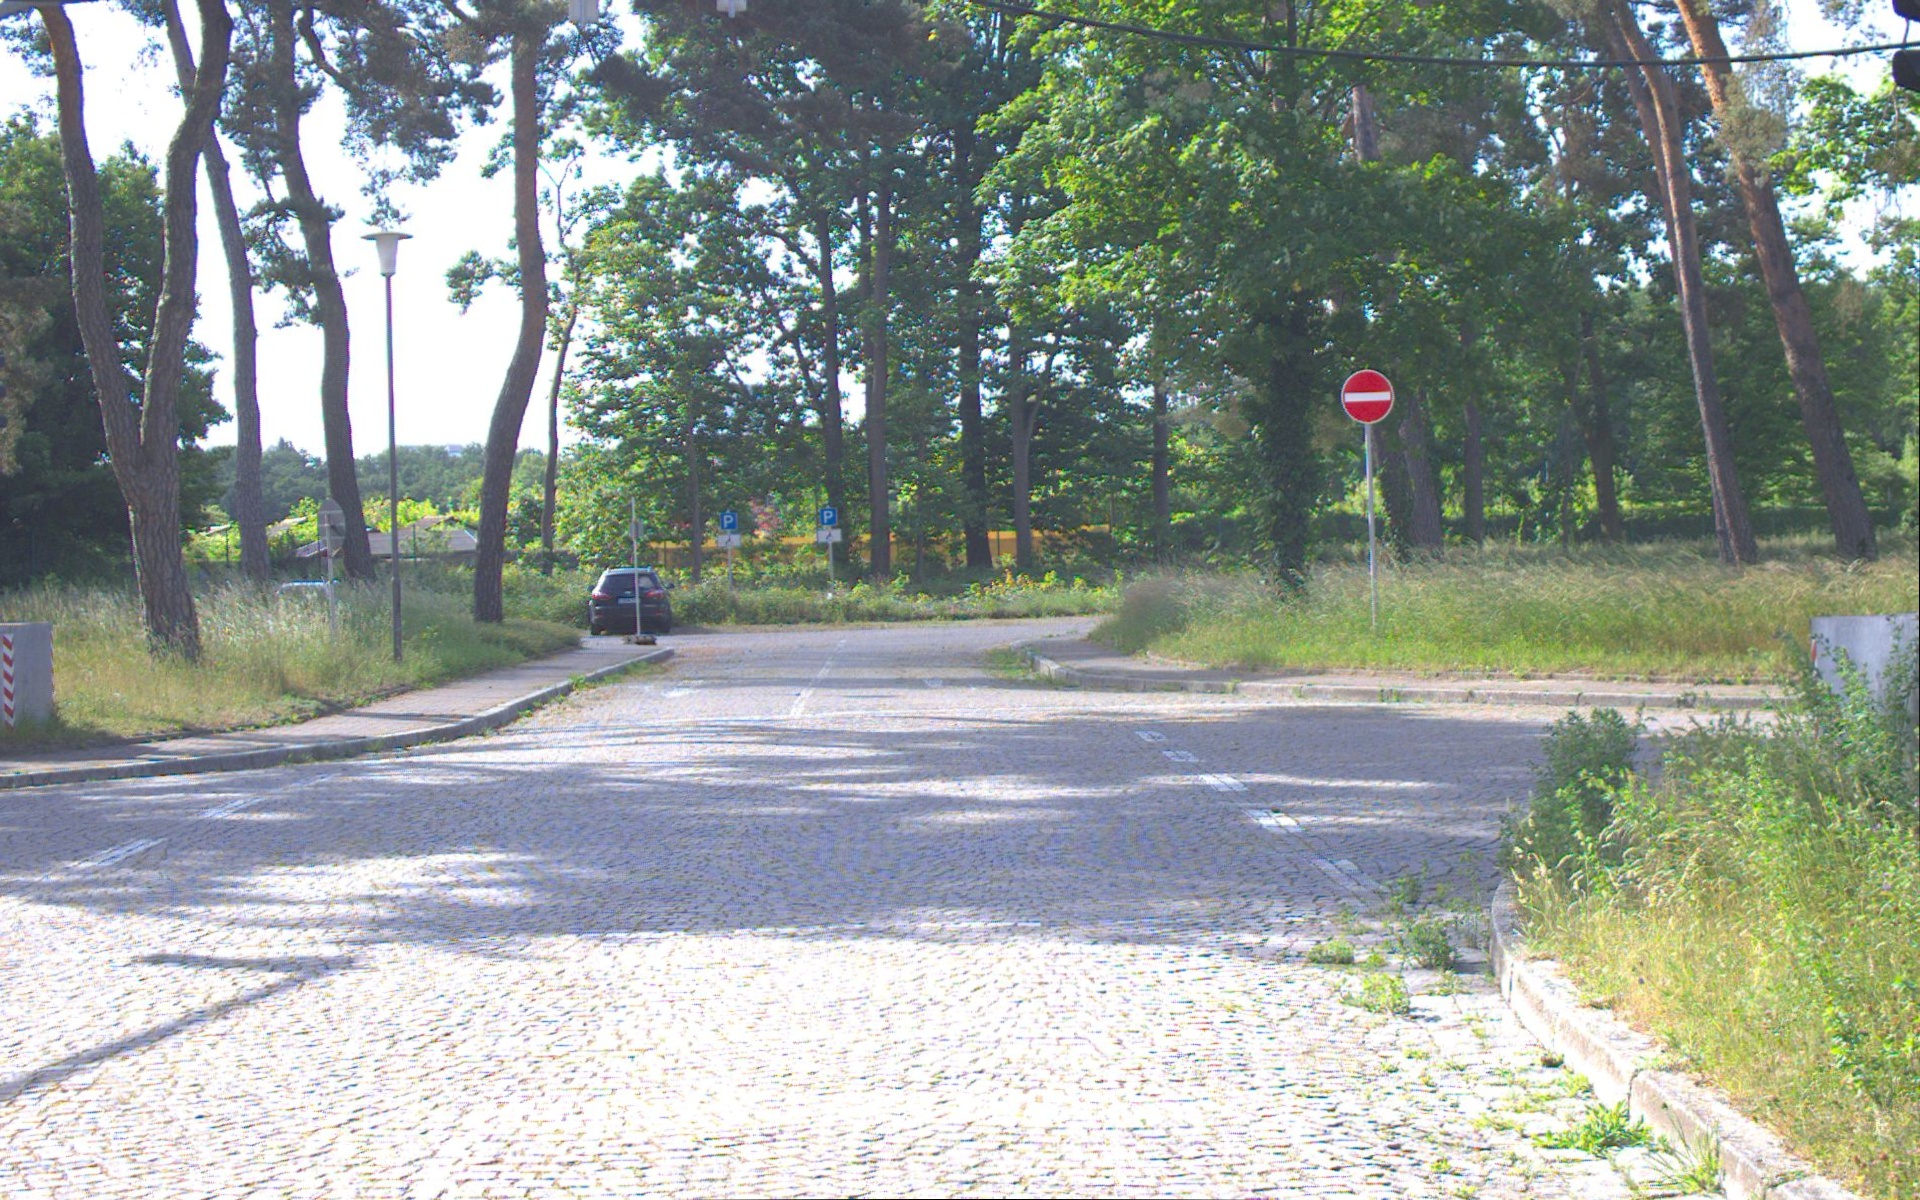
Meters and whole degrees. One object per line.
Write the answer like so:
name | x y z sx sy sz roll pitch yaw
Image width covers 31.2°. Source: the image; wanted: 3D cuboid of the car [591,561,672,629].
car | -7.660 -0.137 80.415 1.709 1.491 3.919 -2 1 -3
